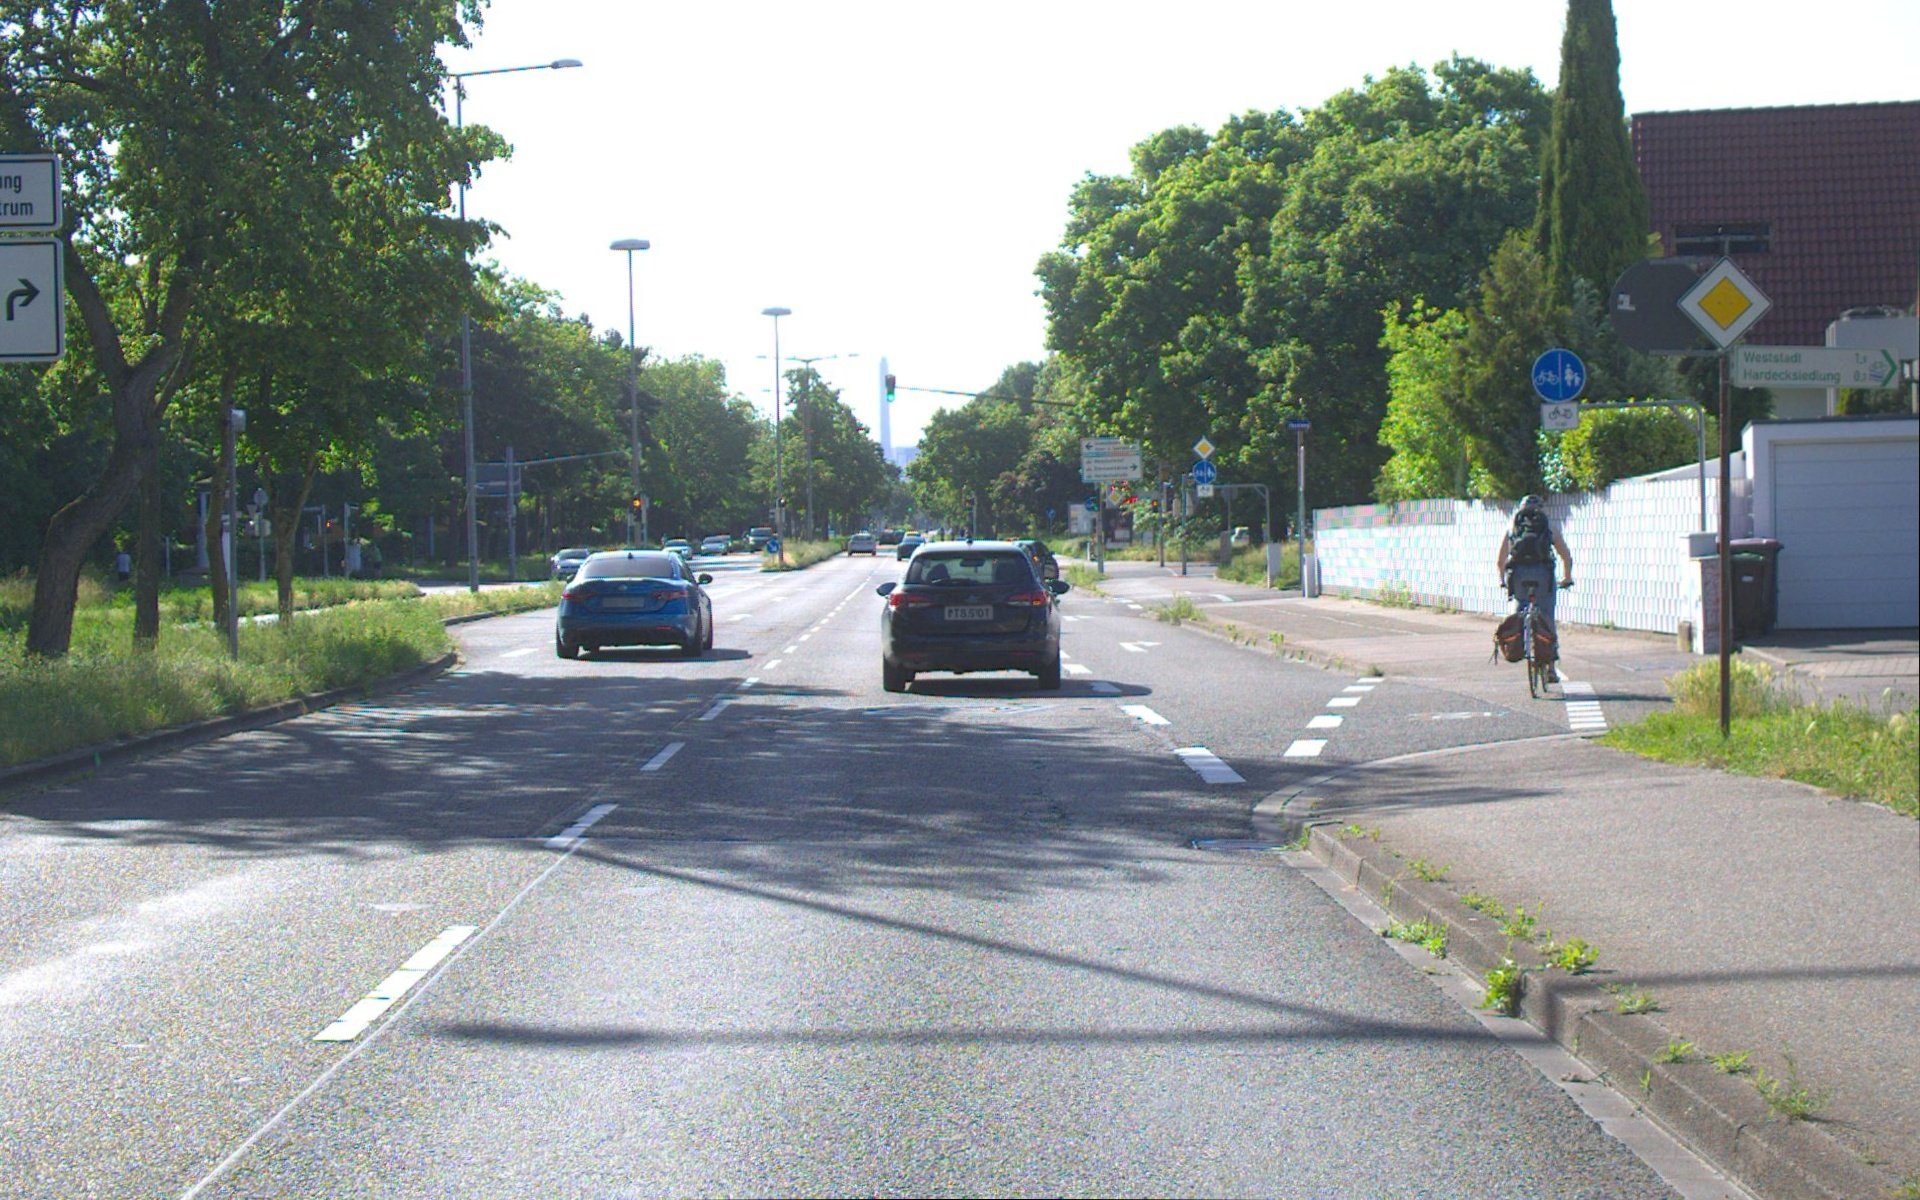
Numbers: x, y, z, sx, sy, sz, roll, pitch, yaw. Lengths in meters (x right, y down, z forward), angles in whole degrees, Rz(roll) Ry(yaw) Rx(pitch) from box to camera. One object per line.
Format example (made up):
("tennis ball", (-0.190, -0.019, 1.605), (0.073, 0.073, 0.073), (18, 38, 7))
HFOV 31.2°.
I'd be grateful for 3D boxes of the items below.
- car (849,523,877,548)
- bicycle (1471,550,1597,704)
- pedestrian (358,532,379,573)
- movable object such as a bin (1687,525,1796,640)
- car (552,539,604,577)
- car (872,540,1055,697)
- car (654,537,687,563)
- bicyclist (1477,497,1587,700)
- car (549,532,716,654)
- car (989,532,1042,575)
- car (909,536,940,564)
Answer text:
("car", (-6.414, -4.234, 227.158), (1.824, 1.609, 3.840), (-1, 1, -1))
("bicycle", (4.866, 0.210, 29.032), (0.574, 1.151, 2.139), (-4, 2, 21))
("pedestrian", (-27.352, -2.193, 158.866), (0.846, 1.829, 0.549), (-1, -1, 2))
("movable object such as a bin", (8.549, -0.195, 37.634), (1.002, 1.201, 1.062), (-3, 0, 7))
("car", (-17.539, -1.924, 157.915), (1.912, 1.697, 4.408), (1, 0, 0))
("car", (0.012, 0.158, 34.954), (1.755, 1.504, 3.809), (0, 1, -1))
("car", (-19.048, -3.278, 226.444), (1.864, 1.678, 4.260), (-1, 1, 0))
("bicyclist", (4.825, -0.021, 28.969), (0.630, 1.627, 0.981), (-4, 1, 21))
("car", (-4.373, -0.115, 46.460), (1.888, 1.547, 4.000), (-1, 1, -1))
("car", (1.971, -1.648, 120.788), (1.732, 1.454, 3.840), (0, 1, 3))
("car", (-2.091, -2.911, 199.085), (1.732, 1.579, 3.840), (1, 1, -1))
